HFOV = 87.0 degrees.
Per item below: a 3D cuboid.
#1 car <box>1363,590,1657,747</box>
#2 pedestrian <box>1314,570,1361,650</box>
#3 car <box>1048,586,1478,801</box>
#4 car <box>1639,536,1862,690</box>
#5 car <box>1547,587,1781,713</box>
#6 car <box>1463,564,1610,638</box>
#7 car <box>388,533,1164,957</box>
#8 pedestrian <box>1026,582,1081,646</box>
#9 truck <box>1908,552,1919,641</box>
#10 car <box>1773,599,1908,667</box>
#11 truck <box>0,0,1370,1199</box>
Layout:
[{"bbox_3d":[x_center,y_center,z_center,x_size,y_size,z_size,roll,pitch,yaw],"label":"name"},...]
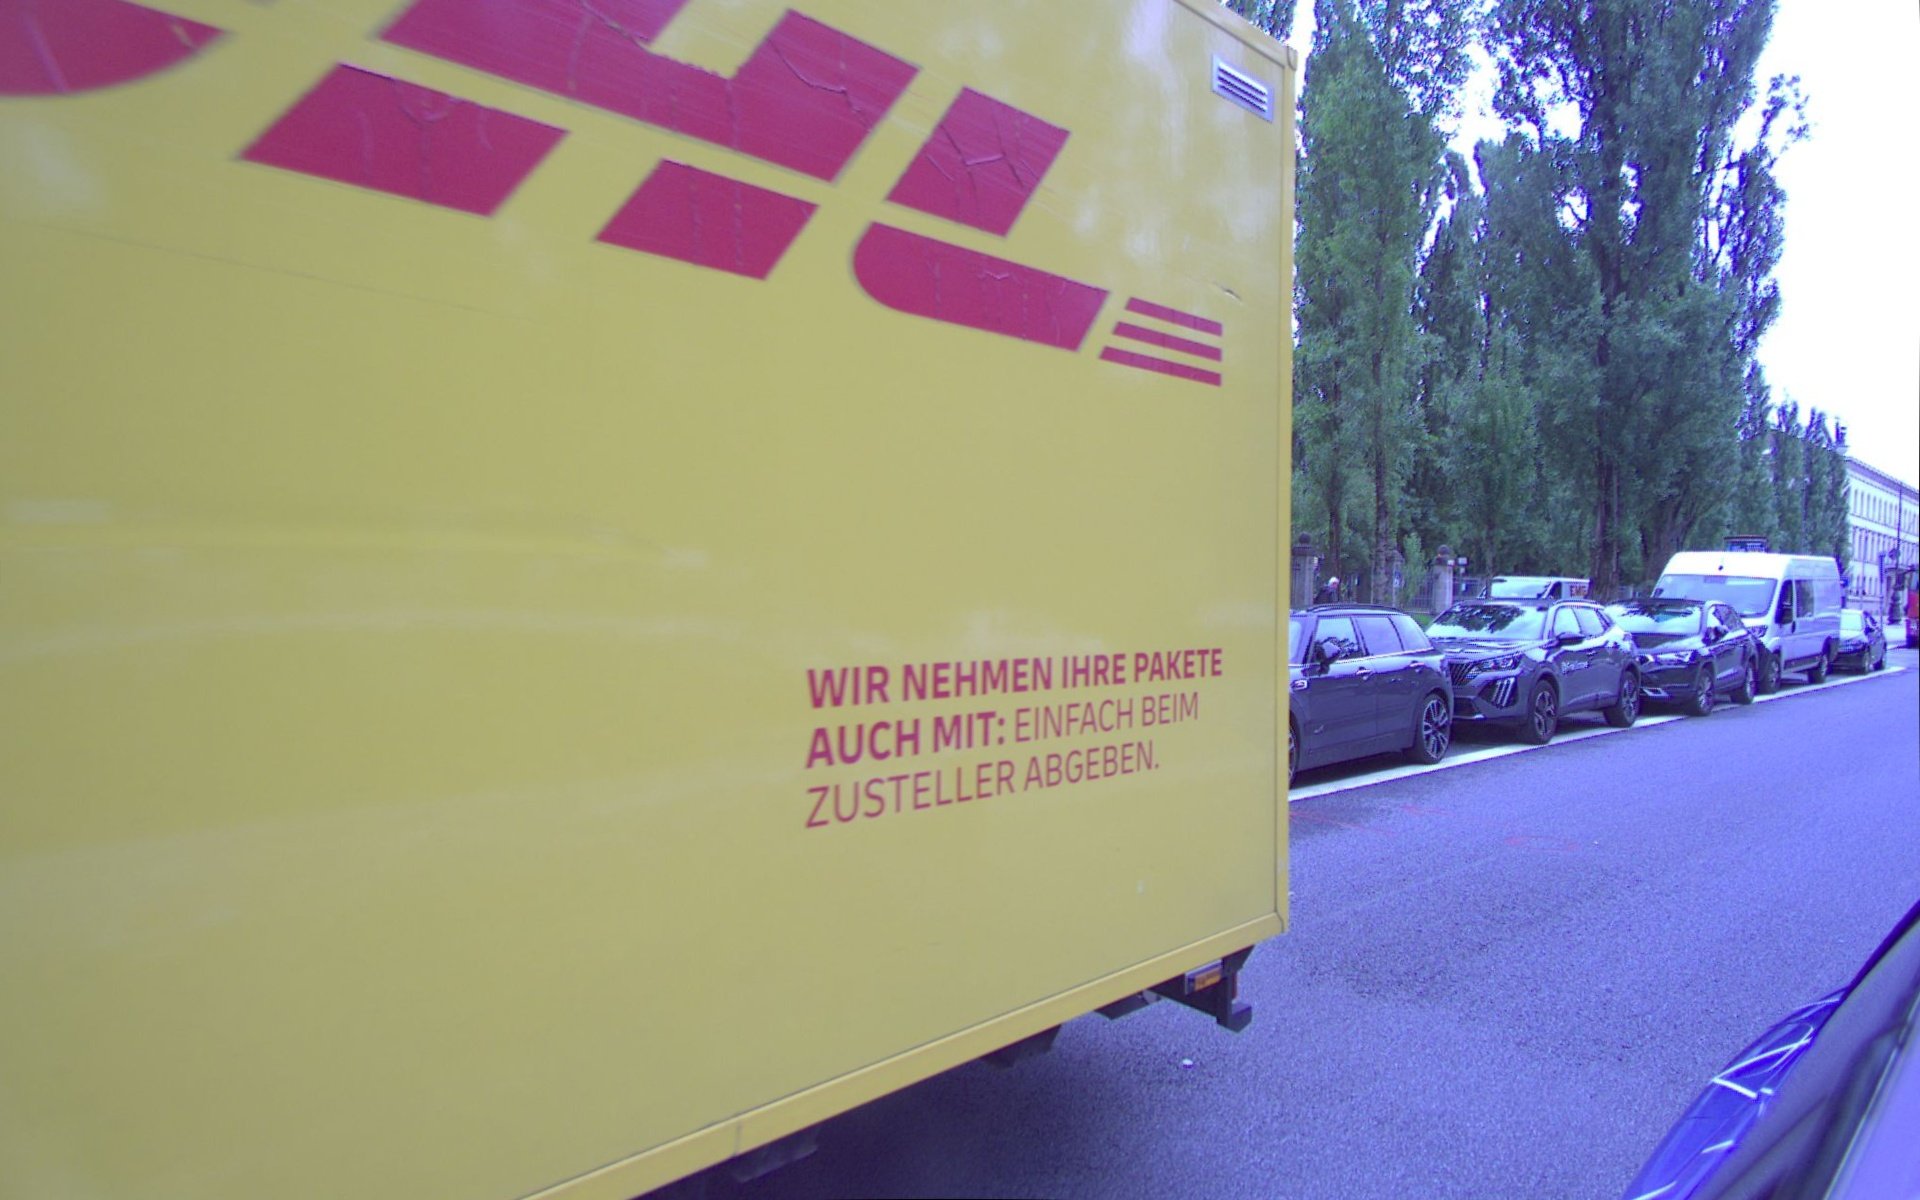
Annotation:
[{"bbox_3d":[6.522,0.664,11.817,4.040,1.522,1.655,0,0,-40],"label":"car"},{"bbox_3d":[8.157,0.208,21.882,0.621,1.680,0.716,1,0,-40],"label":"pedestrian"},{"bbox_3d":[2.800,0.645,8.872,4.074,1.464,1.636,0,-1,-40],"label":"car"},{"bbox_3d":[15.221,0.210,19.321,6.171,2.510,2.079,0,0,-40],"label":"car"},{"bbox_3d":[10.506,0.627,15.005,4.148,1.610,1.825,0,1,-40],"label":"car"},{"bbox_3d":[16.782,0.002,29.348,4.991,1.970,1.999,0,1,-39],"label":"car"},{"bbox_3d":[-0.827,0.552,5.837,4.073,1.602,1.784,0,-1,-40],"label":"car"},{"bbox_3d":[1.934,0.273,20.985,0.659,1.259,0.881,1,2,-39],"label":"pedestrian"},{"bbox_3d":[38.415,-0.074,37.982,10.238,3.148,2.720,0,2,-39],"label":"truck"},{"bbox_3d":[20.524,0.718,23.546,3.928,1.468,1.757,0,-1,-40],"label":"car"},{"bbox_3d":[-2.431,-0.074,1.178,7.204,2.934,2.332,0,1,-41],"label":"truck"}]
